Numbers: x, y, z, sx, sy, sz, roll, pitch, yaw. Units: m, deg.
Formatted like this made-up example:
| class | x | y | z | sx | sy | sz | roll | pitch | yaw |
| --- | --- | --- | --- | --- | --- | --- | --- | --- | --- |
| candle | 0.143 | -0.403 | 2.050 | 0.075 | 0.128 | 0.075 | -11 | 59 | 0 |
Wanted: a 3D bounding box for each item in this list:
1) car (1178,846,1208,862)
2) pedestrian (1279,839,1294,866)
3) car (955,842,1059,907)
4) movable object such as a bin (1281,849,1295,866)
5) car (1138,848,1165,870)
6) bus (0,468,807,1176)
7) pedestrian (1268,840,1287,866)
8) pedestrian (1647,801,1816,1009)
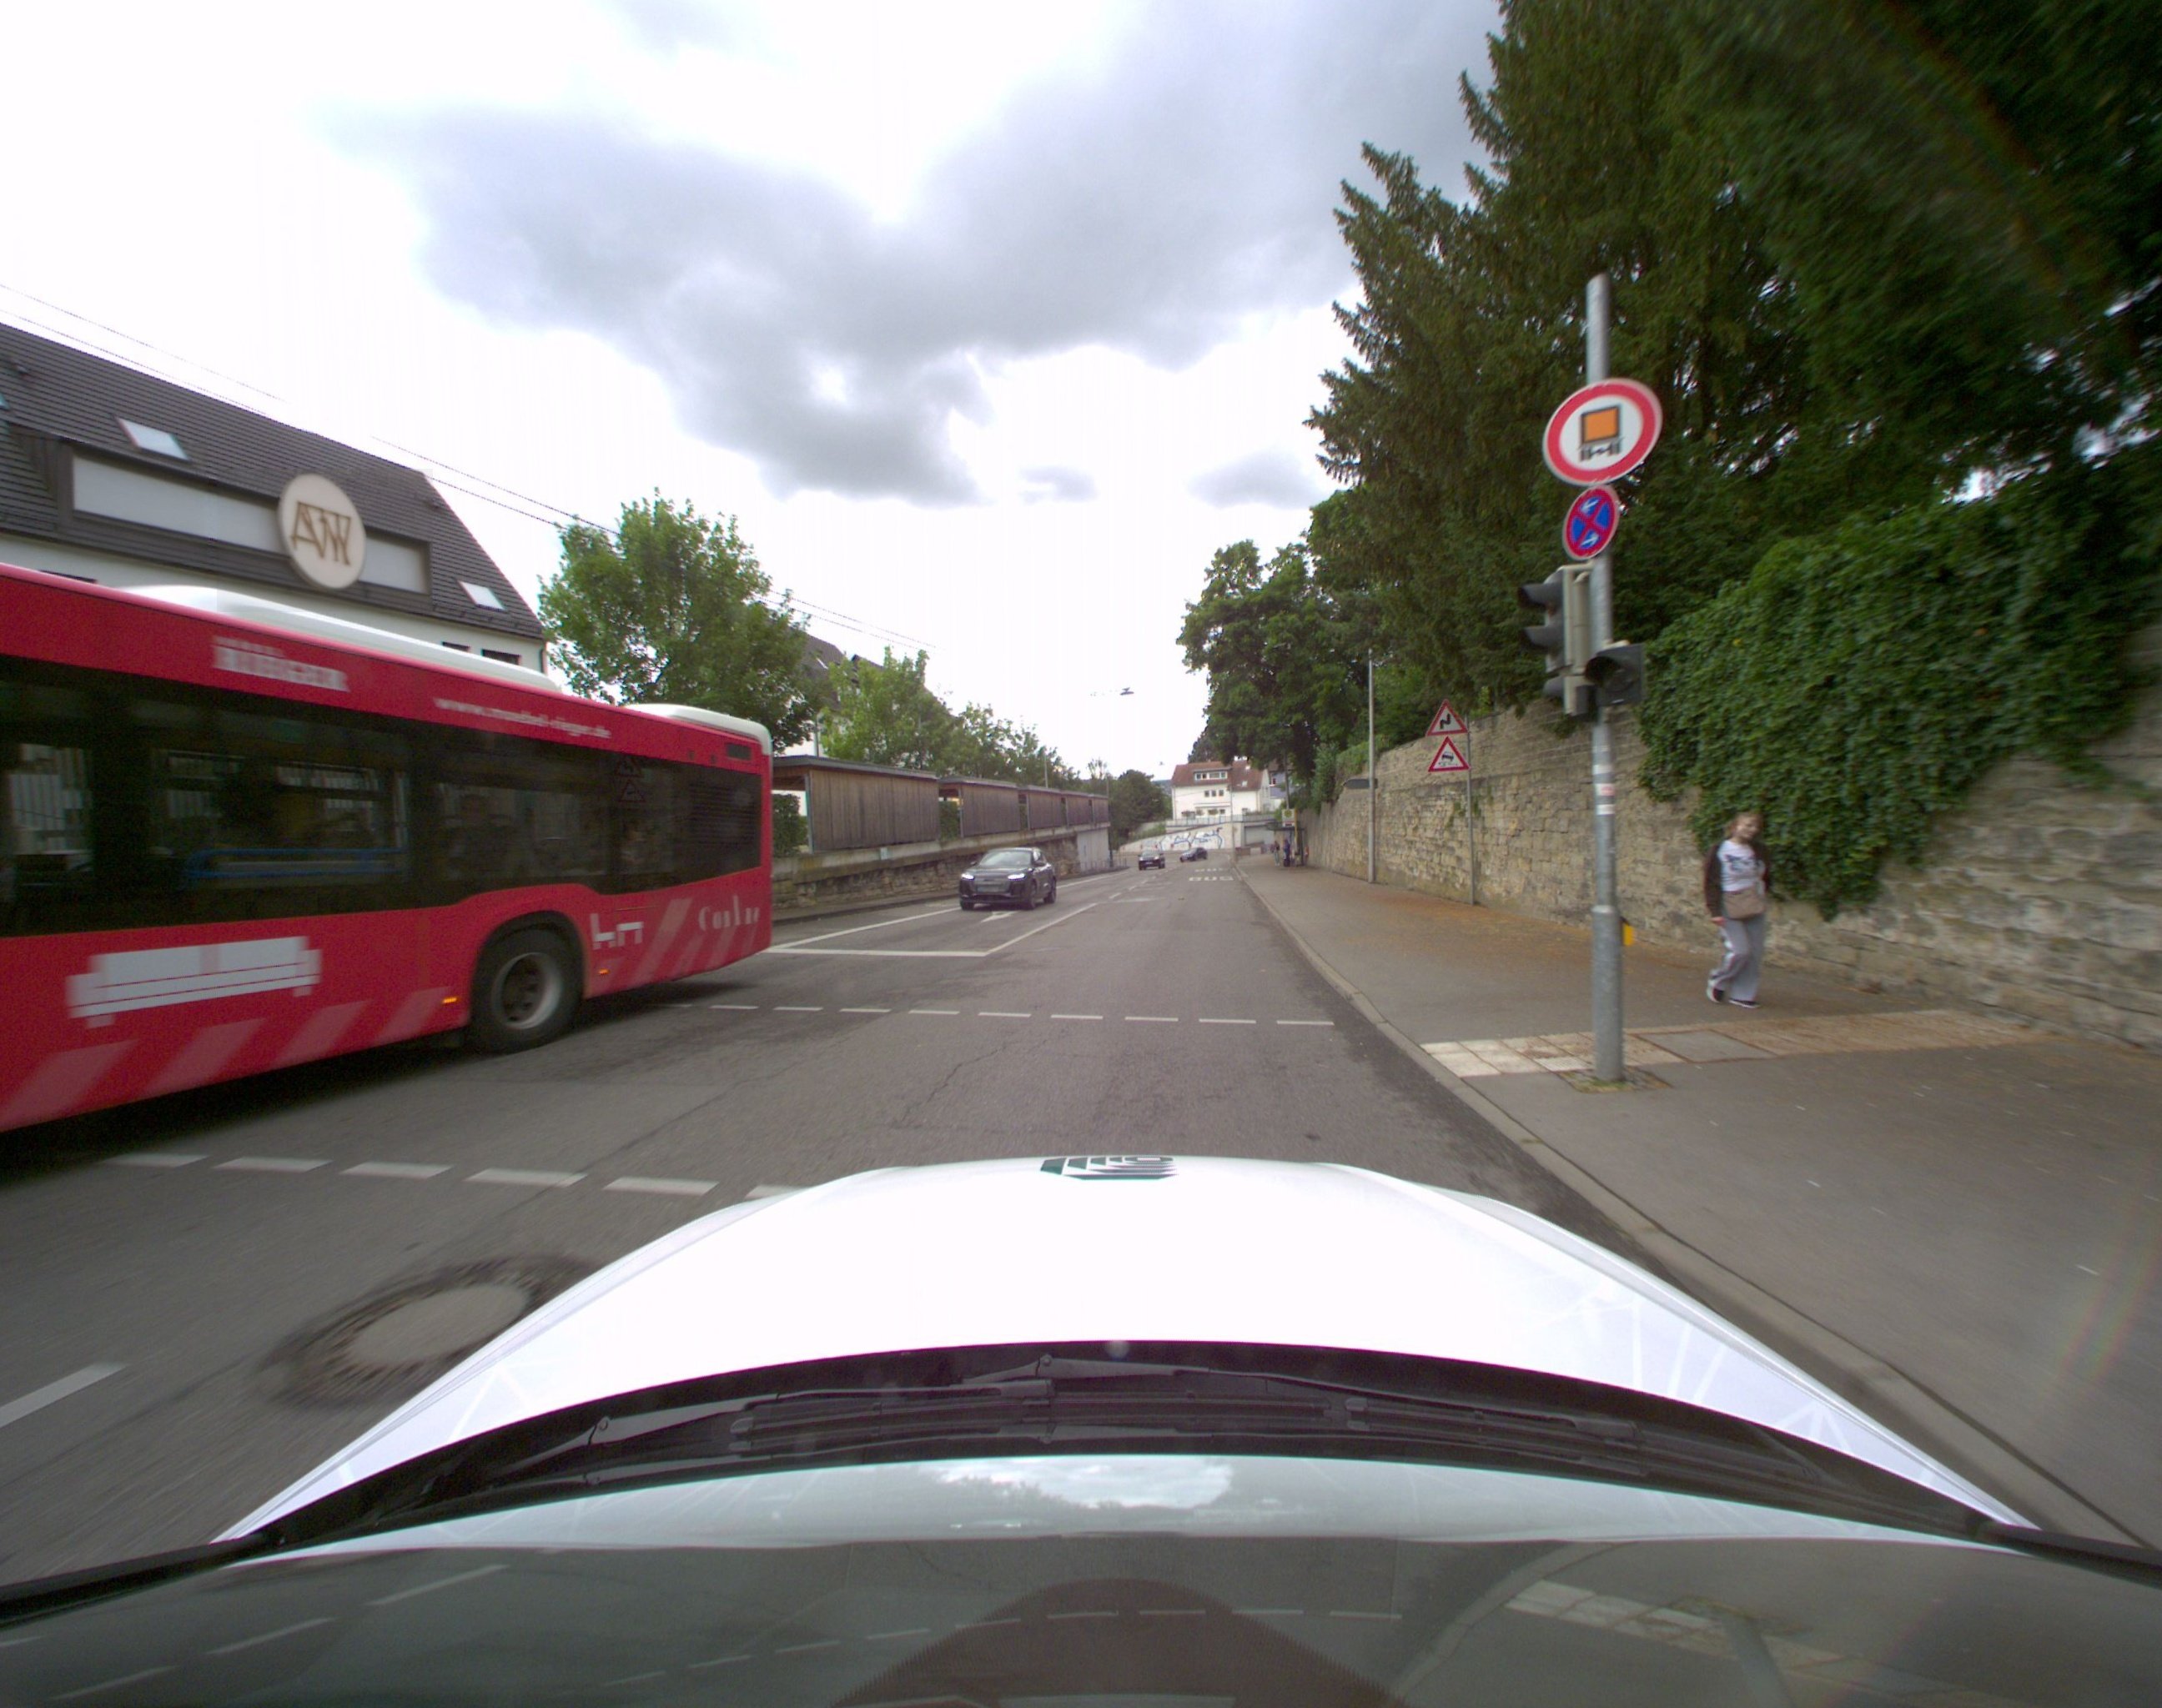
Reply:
| class | x | y | z | sx | sy | sz | roll | pitch | yaw |
| --- | --- | --- | --- | --- | --- | --- | --- | --- | --- |
| car | 11.968 | 0.010 | 87.060 | 1.718 | 1.533 | 4.025 | -3 | -1 | 29 |
| pedestrian | 12.644 | -0.108 | 50.114 | 0.717 | 1.642 | 0.632 | -3 | -1 | 5 |
| car | -1.956 | 0.543 | 22.990 | 1.911 | 1.630 | 4.532 | -1 | -1 | 8 |
| movable object such as a bin | 12.543 | 0.197 | 49.439 | 0.671 | 1.020 | 0.628 | -3 | 0 | 4 |
| car | 6.073 | 0.443 | 69.856 | 1.883 | 1.756 | 4.448 | -3 | -1 | 9 |
| bus | -5.556 | -0.139 | 6.392 | 2.640 | 3.122 | 8.318 | 0 | 0 | 11 |
| pedestrian | 12.657 | -0.060 | 52.444 | 0.777 | 1.587 | 0.729 | -5 | 0 | -39 |
| pedestrian | 5.327 | 0.399 | 6.724 | 0.727 | 1.576 | 0.745 | -4 | 0 | 6 |
